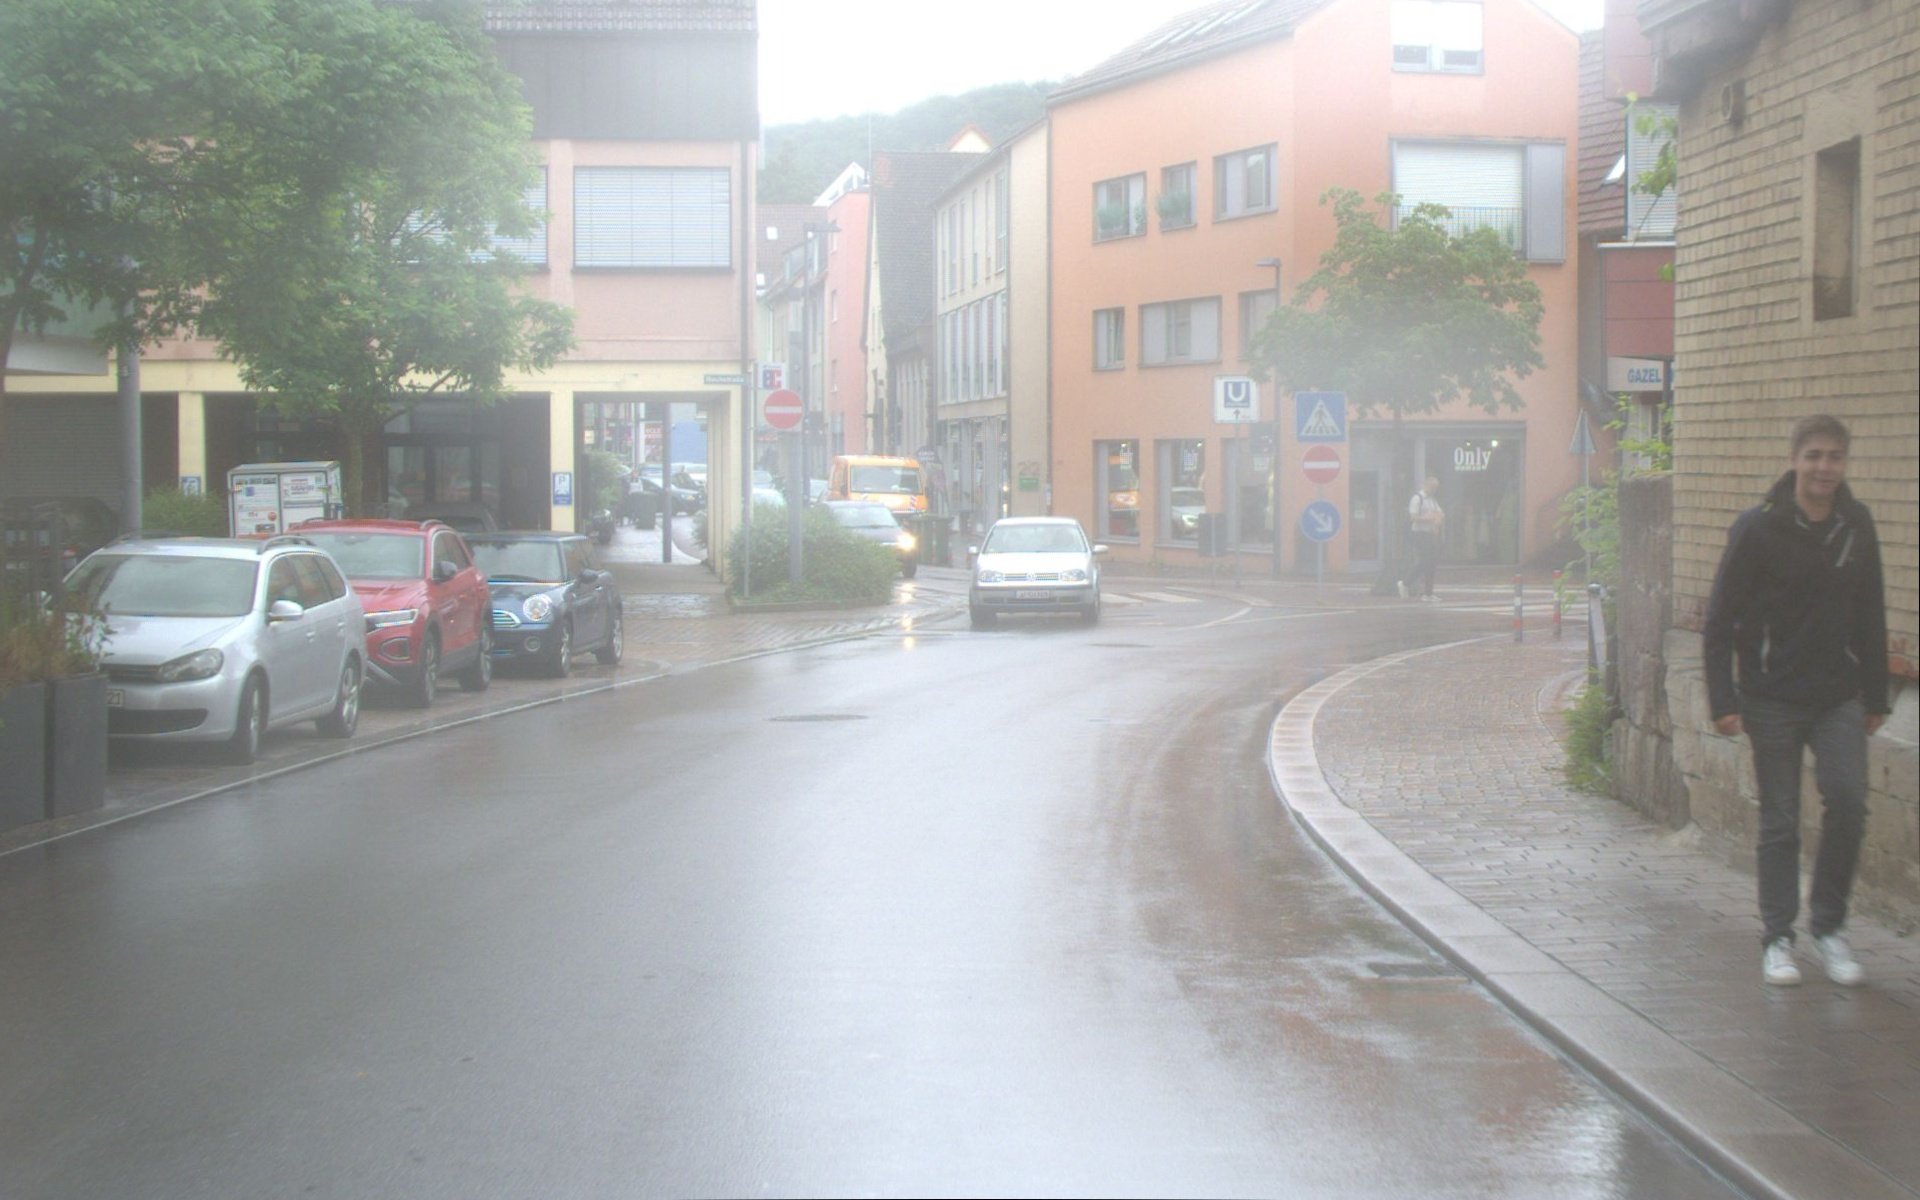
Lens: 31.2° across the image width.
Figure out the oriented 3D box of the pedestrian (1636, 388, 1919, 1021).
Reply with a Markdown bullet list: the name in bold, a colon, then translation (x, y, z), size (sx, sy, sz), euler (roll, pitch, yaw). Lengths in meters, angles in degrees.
- **pedestrian**: translation (2.658, 0.298, 10.771), size (0.810, 1.878, 0.908), euler (-2, 2, -3)

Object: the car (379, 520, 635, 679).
- **car**: translation (-4.534, -0.053, 34.916), size (1.715, 1.453, 3.910), euler (1, 2, 6)

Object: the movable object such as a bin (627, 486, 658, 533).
- **movable object such as a bin**: translation (-9.375, -2.674, 101.491), size (0.834, 1.377, 0.854), euler (-1, 2, -11)

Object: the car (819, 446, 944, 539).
- **car**: translation (-1.950, -2.618, 83.995), size (2.103, 2.139, 4.869), euler (-2, 2, -12)

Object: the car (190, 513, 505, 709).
- **car**: translation (-5.241, 0.041, 29.931), size (1.787, 1.571, 4.107), euler (-1, 1, 3)

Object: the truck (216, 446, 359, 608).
- **truck**: translation (-9.787, -1.102, 50.225), size (1.596, 2.055, 3.194), euler (-2, 6, -4)

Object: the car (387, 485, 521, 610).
- **car**: translation (-7.384, -0.798, 50.442), size (1.578, 1.473, 3.825), euler (0, 6, -3)

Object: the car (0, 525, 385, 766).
- **car**: translation (-5.408, 0.244, 24.032), size (1.787, 1.493, 4.454), euler (-1, 1, 3)

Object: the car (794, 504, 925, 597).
- **car**: translation (-1.735, -0.853, 57.994), size (1.714, 1.453, 3.911), euler (1, 2, -9)

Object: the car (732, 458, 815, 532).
- **car**: translation (-5.723, -3.188, 105.009), size (2.103, 2.139, 4.868), euler (-2, 2, -7)

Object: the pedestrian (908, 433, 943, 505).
- **pedestrian**: translation (-0.968, -3.645, 95.871), size (0.866, 2.006, 0.708), euler (0, 2, -9)

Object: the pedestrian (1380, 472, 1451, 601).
- **pedestrian**: translation (6.848, -0.964, 51.708), size (0.862, 1.908, 0.757), euler (1, 2, 25)

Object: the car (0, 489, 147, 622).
- **car**: translation (-13.026, -0.675, 49.150), size (1.812, 1.612, 4.001), euler (0, 5, 0)

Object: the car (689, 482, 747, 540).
- **car**: translation (-8.765, -3.250, 124.731), size (1.993, 2.006, 4.364), euler (-2, 2, -4)

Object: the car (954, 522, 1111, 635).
- **car**: translation (0.957, -0.337, 47.672), size (1.790, 1.412, 4.030), euler (-2, 2, -4)
